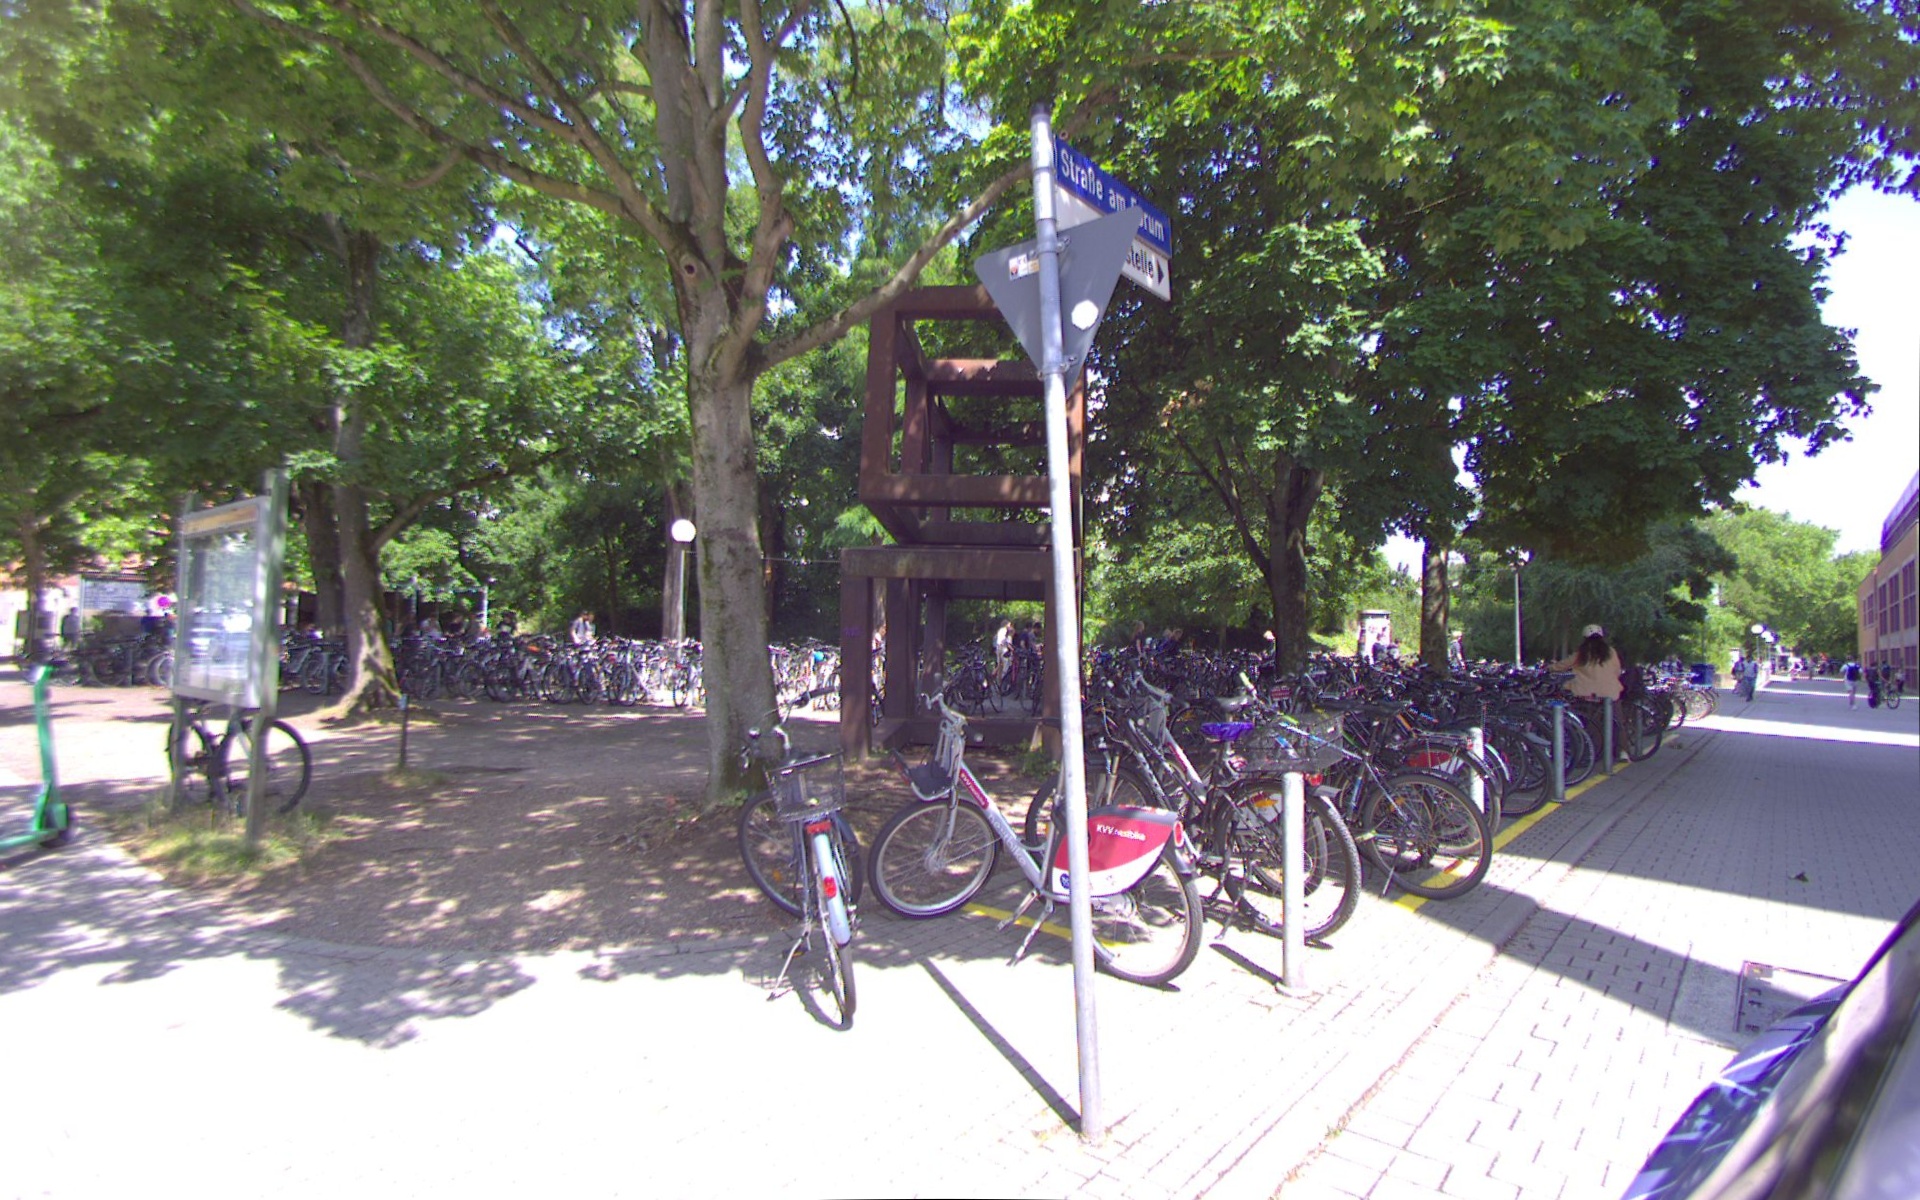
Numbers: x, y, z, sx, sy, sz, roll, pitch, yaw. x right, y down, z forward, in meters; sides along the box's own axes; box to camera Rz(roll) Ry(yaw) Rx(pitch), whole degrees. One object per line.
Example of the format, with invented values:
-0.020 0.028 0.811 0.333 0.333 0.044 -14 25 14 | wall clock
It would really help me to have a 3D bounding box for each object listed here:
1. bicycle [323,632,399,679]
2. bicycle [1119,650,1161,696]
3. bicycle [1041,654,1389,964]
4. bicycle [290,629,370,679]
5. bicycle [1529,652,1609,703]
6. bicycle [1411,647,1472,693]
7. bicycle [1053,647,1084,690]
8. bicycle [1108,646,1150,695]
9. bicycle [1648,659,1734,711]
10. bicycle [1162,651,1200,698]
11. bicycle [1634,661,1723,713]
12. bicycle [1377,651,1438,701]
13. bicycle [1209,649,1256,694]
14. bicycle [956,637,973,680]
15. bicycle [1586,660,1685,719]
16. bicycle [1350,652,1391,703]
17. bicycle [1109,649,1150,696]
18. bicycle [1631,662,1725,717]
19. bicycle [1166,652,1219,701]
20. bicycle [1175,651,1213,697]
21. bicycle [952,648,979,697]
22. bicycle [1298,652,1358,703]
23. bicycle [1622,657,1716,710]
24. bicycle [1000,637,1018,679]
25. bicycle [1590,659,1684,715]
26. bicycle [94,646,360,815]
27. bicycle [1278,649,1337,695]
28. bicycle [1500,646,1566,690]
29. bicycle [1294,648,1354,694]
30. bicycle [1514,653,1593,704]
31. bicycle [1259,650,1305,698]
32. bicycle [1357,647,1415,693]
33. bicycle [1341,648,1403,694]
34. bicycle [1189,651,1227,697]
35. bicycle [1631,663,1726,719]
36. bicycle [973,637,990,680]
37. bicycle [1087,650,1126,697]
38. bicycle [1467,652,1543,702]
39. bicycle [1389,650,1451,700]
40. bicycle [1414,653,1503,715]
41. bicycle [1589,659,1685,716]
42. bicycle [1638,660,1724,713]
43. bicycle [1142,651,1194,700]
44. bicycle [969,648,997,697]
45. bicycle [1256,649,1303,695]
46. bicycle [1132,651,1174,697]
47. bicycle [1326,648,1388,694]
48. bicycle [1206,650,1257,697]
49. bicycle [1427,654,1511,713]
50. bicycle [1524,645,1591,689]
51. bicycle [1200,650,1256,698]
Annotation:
-14.310 1.315 24.163 1.880 1.097 0.475 0 -2 20 | bicycle
4.453 1.797 25.117 0.345 1.098 1.474 4 -4 -16 | bicycle
1.154 0.875 4.744 1.482 1.156 0.554 1 0 38 | bicycle
-14.450 1.228 23.207 1.880 1.097 0.475 0 -2 20 | bicycle
14.155 1.787 23.583 0.468 1.098 1.691 4 -4 -18 | bicycle
12.288 1.775 25.885 0.469 1.098 1.690 4 -4 -11 | bicycle
2.678 1.683 25.065 0.371 0.991 1.803 0 -2 -6 | bicycle
3.711 1.539 22.314 0.469 0.991 1.905 0 -2 -4 | bicycle
17.756 2.060 24.632 1.678 1.165 0.544 1 -5 36 | bicycle
5.452 1.825 25.037 0.345 1.098 1.473 4 -4 -9 | bicycle
16.786 2.025 23.671 1.678 1.098 0.522 1 -5 36 | bicycle
10.407 1.747 23.572 0.345 1.098 1.474 5 -4 -21 | bicycle
6.927 1.811 25.780 0.345 1.098 1.474 5 -4 -20 | bicycle
0.124 1.425 24.821 0.396 0.991 1.596 0 -2 1 | bicycle
13.857 1.823 20.779 1.678 1.098 0.472 1 -5 36 | bicycle
9.434 1.768 23.275 0.446 1.098 1.468 3 -4 6 | bicycle
4.159 1.767 24.872 0.345 1.098 1.474 4 -4 -16 | bicycle
15.944 1.977 22.505 1.678 1.098 0.522 1 -5 36 | bicycle
5.194 1.700 22.719 0.469 0.991 1.906 0 -2 -9 | bicycle
5.797 1.822 25.096 0.345 1.098 1.473 4 -4 -9 | bicycle
0.117 1.594 22.445 0.469 0.991 1.904 0 -2 -3 | bicycle
8.313 1.741 22.922 0.468 1.098 1.474 4 -4 -17 | bicycle
16.230 1.897 23.188 0.519 1.098 1.686 6 -5 -39 | bicycle
1.207 1.418 24.993 0.396 0.991 1.596 0 -2 1 | bicycle
14.722 1.879 22.043 1.678 1.098 0.522 1 -5 36 | bicycle
-5.186 0.902 7.181 1.665 1.098 0.625 -2 -5 18 | bicycle
8.748 1.794 25.511 0.468 1.098 1.691 4 -4 -17 | bicycle
14.957 1.756 26.459 0.469 1.098 1.690 4 -4 -13 | bicycle
9.202 1.791 25.654 0.468 1.098 1.691 4 -4 -17 | bicycle
13.712 1.791 23.431 0.468 1.098 1.691 4 -4 -18 | bicycle
7.202 1.639 22.704 0.470 0.991 1.902 0 -2 2 | bicycle
10.915 1.782 25.976 0.469 1.098 1.690 4 -4 -11 | bicycle
10.486 1.783 25.791 0.468 1.098 1.691 4 -4 -17 | bicycle
6.152 1.820 25.150 0.345 1.098 1.473 4 -4 -9 | bicycle
15.640 1.977 22.072 1.678 1.098 0.522 1 -5 36 | bicycle
0.526 1.423 24.803 0.396 0.991 1.596 0 -2 1 | bicycle
3.575 1.772 24.741 0.345 1.098 1.474 4 -4 -15 | bicycle
12.786 1.793 23.784 0.468 1.098 1.691 4 -4 -18 | bicycle
10.769 1.743 23.718 0.345 1.098 1.474 5 -4 -21 | bicycle
9.401 1.575 19.117 1.463 1.098 0.348 -1 -3 37 | bicycle
14.377 1.841 21.506 1.678 1.098 0.472 1 -5 36 | bicycle
17.260 2.067 24.261 1.678 1.165 0.544 1 -5 36 | bicycle
4.606 1.650 22.525 0.469 0.991 1.906 0 -2 -9 | bicycle
0.501 1.594 22.459 0.469 0.991 1.904 0 -2 -3 | bicycle
8.026 1.807 25.474 0.469 1.098 1.689 3 -4 -6 | bicycle
4.789 1.826 25.215 0.345 1.098 1.474 4 -4 -16 | bicycle
10.032 1.786 25.646 0.468 1.098 1.691 4 -4 -17 | bicycle
6.756 1.816 25.211 0.345 1.098 1.474 5 -4 -23 | bicycle
9.976 1.623 19.853 1.458 1.098 0.349 0 -3 28 | bicycle
15.732 1.748 26.699 0.469 1.098 1.691 4 -4 -13 | bicycle
6.018 1.642 22.786 0.469 0.991 1.906 0 -2 -9 | bicycle
